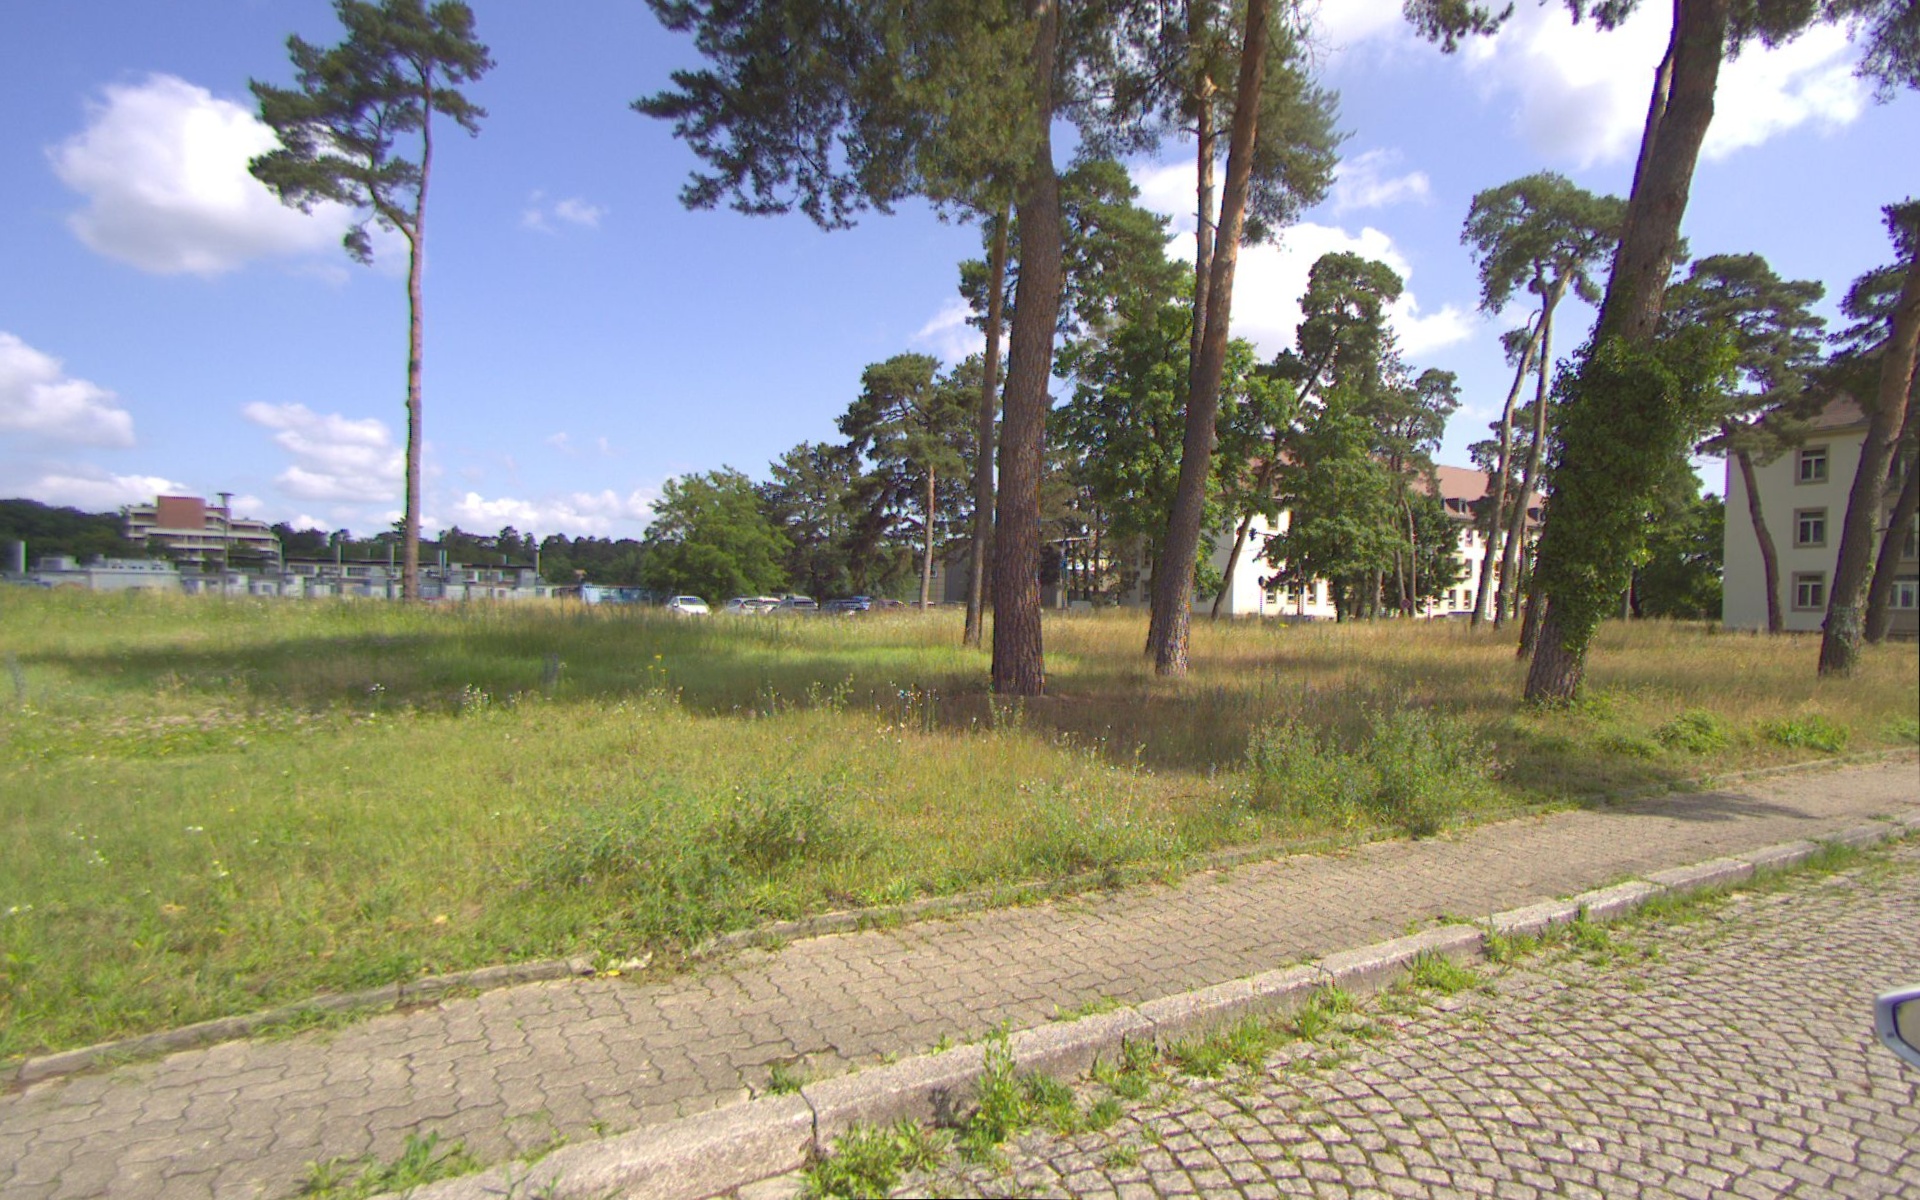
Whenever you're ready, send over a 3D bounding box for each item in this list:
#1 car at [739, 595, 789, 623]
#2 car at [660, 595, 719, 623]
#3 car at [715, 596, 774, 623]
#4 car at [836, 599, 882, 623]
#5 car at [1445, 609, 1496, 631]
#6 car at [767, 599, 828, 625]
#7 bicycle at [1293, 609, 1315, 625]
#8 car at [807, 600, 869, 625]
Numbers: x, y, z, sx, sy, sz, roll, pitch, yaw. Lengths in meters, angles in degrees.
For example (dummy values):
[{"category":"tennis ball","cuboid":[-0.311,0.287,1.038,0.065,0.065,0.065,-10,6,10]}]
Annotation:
[{"category":"car","cuboid":[-12.791,0.566,65.525,1.880,1.725,4.044,1,-1,-32]},{"category":"car","cuboid":[-14.023,0.455,51.969,1.880,1.367,4.036,1,-1,-32]},{"category":"car","cuboid":[-11.610,0.511,53.957,1.880,1.356,4.044,1,-1,-32]},{"category":"car","cuboid":[-7.807,0.815,77.362,1.880,1.803,4.044,1,-1,-32]},{"category":"car","cuboid":[48.468,1.904,95.354,1.693,2.018,4.040,1,-1,-30]},{"category":"car","cuboid":[-8.897,0.665,54.844,1.880,1.337,4.044,1,-1,-32]},{"category":"bicycle","cuboid":[25.177,1.240,73.543,1.562,1.115,0.489,1,0,-20]},{"category":"car","cuboid":[-6.827,0.679,55.963,1.880,1.327,4.044,1,-1,-32]}]
